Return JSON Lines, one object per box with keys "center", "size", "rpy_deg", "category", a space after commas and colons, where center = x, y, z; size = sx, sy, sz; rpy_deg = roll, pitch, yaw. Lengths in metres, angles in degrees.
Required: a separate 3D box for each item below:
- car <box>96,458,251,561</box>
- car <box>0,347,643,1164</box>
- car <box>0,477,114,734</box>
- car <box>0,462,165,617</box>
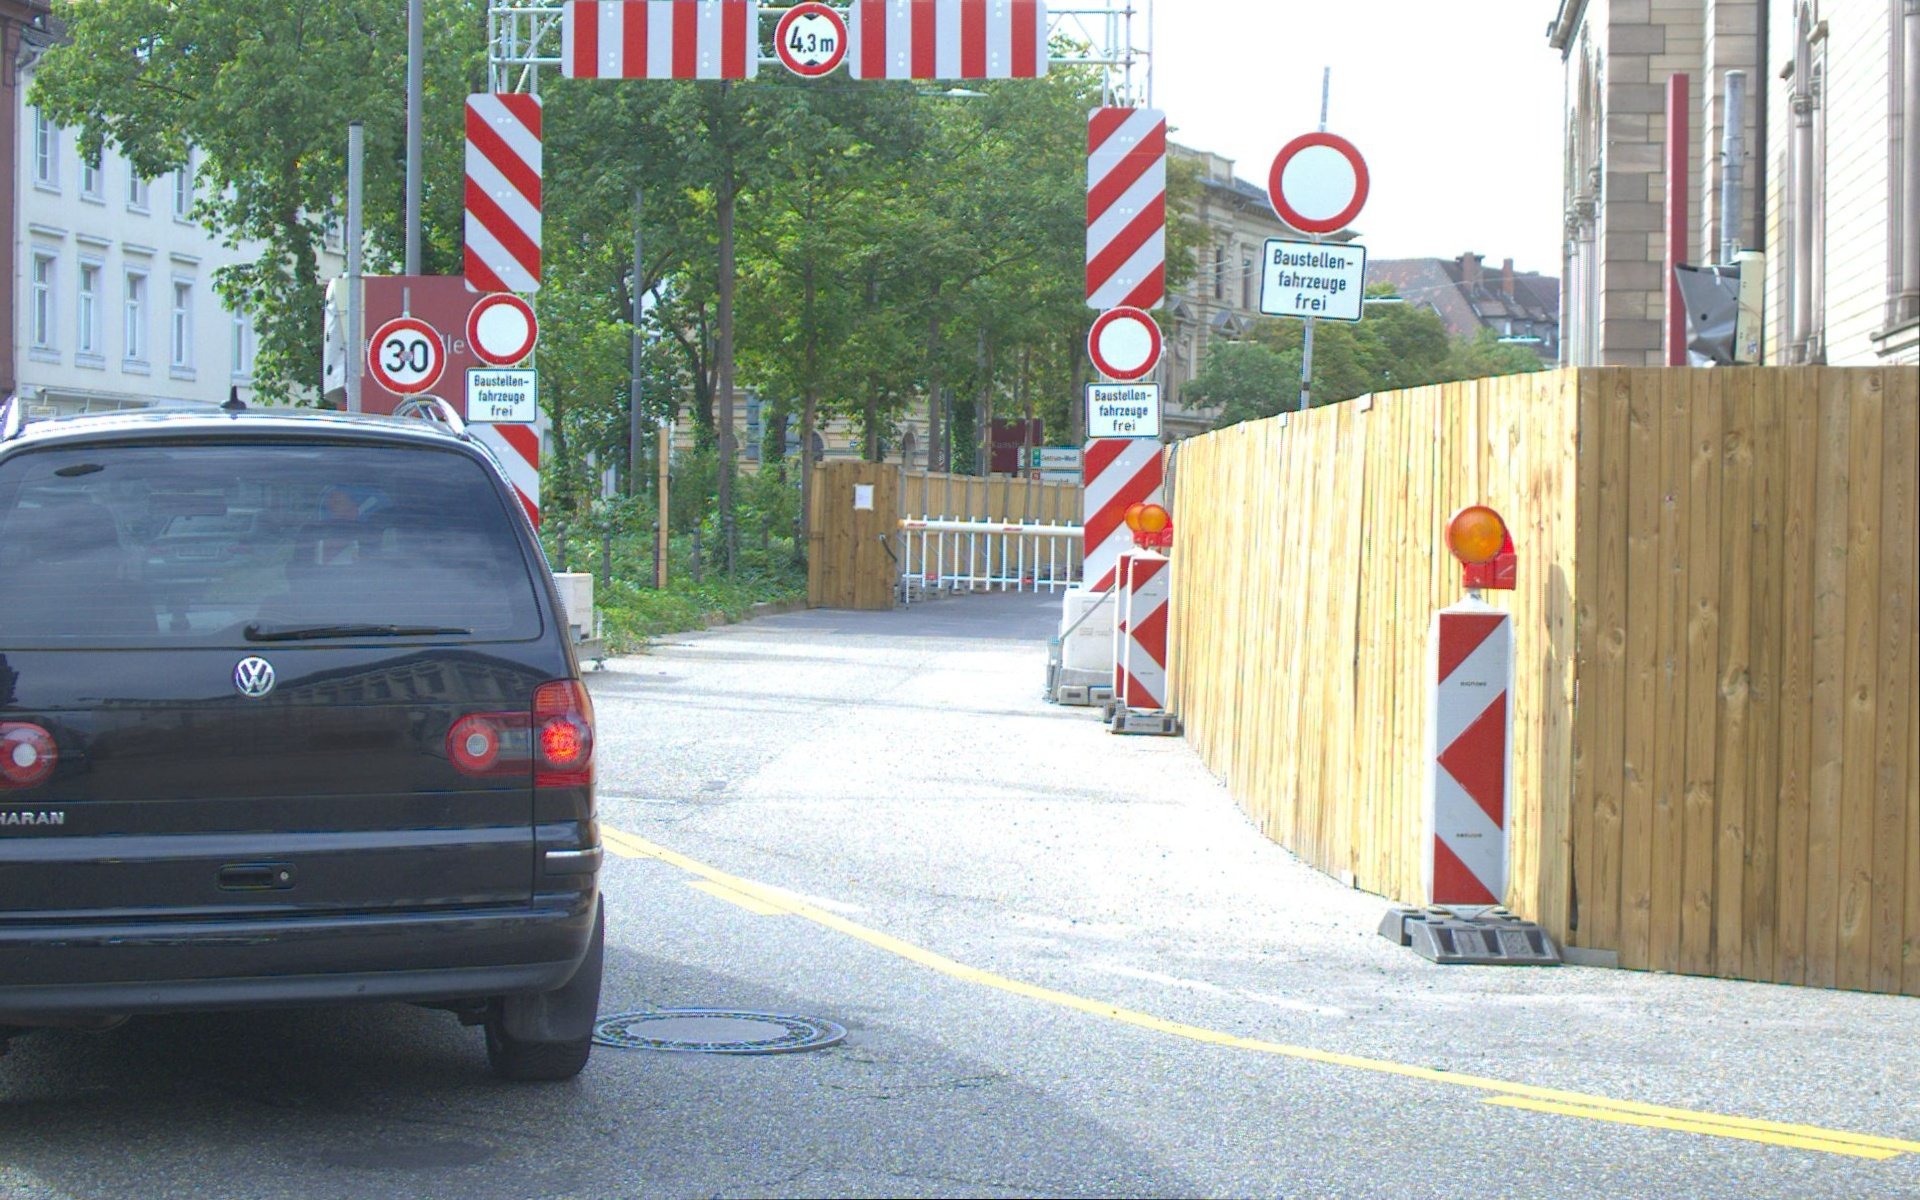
{"center": [-10.602, -1.213, 46.532], "size": [1.649, 1.317, 3.676], "rpy_deg": [0, 1, -7], "category": "car"}
{"center": [-2.145, 0.298, 9.618], "size": [1.789, 1.784, 4.105], "rpy_deg": [1, 1, -15], "category": "car"}
{"center": [-6.397, -0.022, 21.460], "size": [1.677, 1.464, 4.104], "rpy_deg": [1, 1, -21], "category": "car"}
{"center": [-9.655, -0.656, 37.122], "size": [1.773, 1.580, 4.001], "rpy_deg": [0, 1, -9], "category": "car"}
